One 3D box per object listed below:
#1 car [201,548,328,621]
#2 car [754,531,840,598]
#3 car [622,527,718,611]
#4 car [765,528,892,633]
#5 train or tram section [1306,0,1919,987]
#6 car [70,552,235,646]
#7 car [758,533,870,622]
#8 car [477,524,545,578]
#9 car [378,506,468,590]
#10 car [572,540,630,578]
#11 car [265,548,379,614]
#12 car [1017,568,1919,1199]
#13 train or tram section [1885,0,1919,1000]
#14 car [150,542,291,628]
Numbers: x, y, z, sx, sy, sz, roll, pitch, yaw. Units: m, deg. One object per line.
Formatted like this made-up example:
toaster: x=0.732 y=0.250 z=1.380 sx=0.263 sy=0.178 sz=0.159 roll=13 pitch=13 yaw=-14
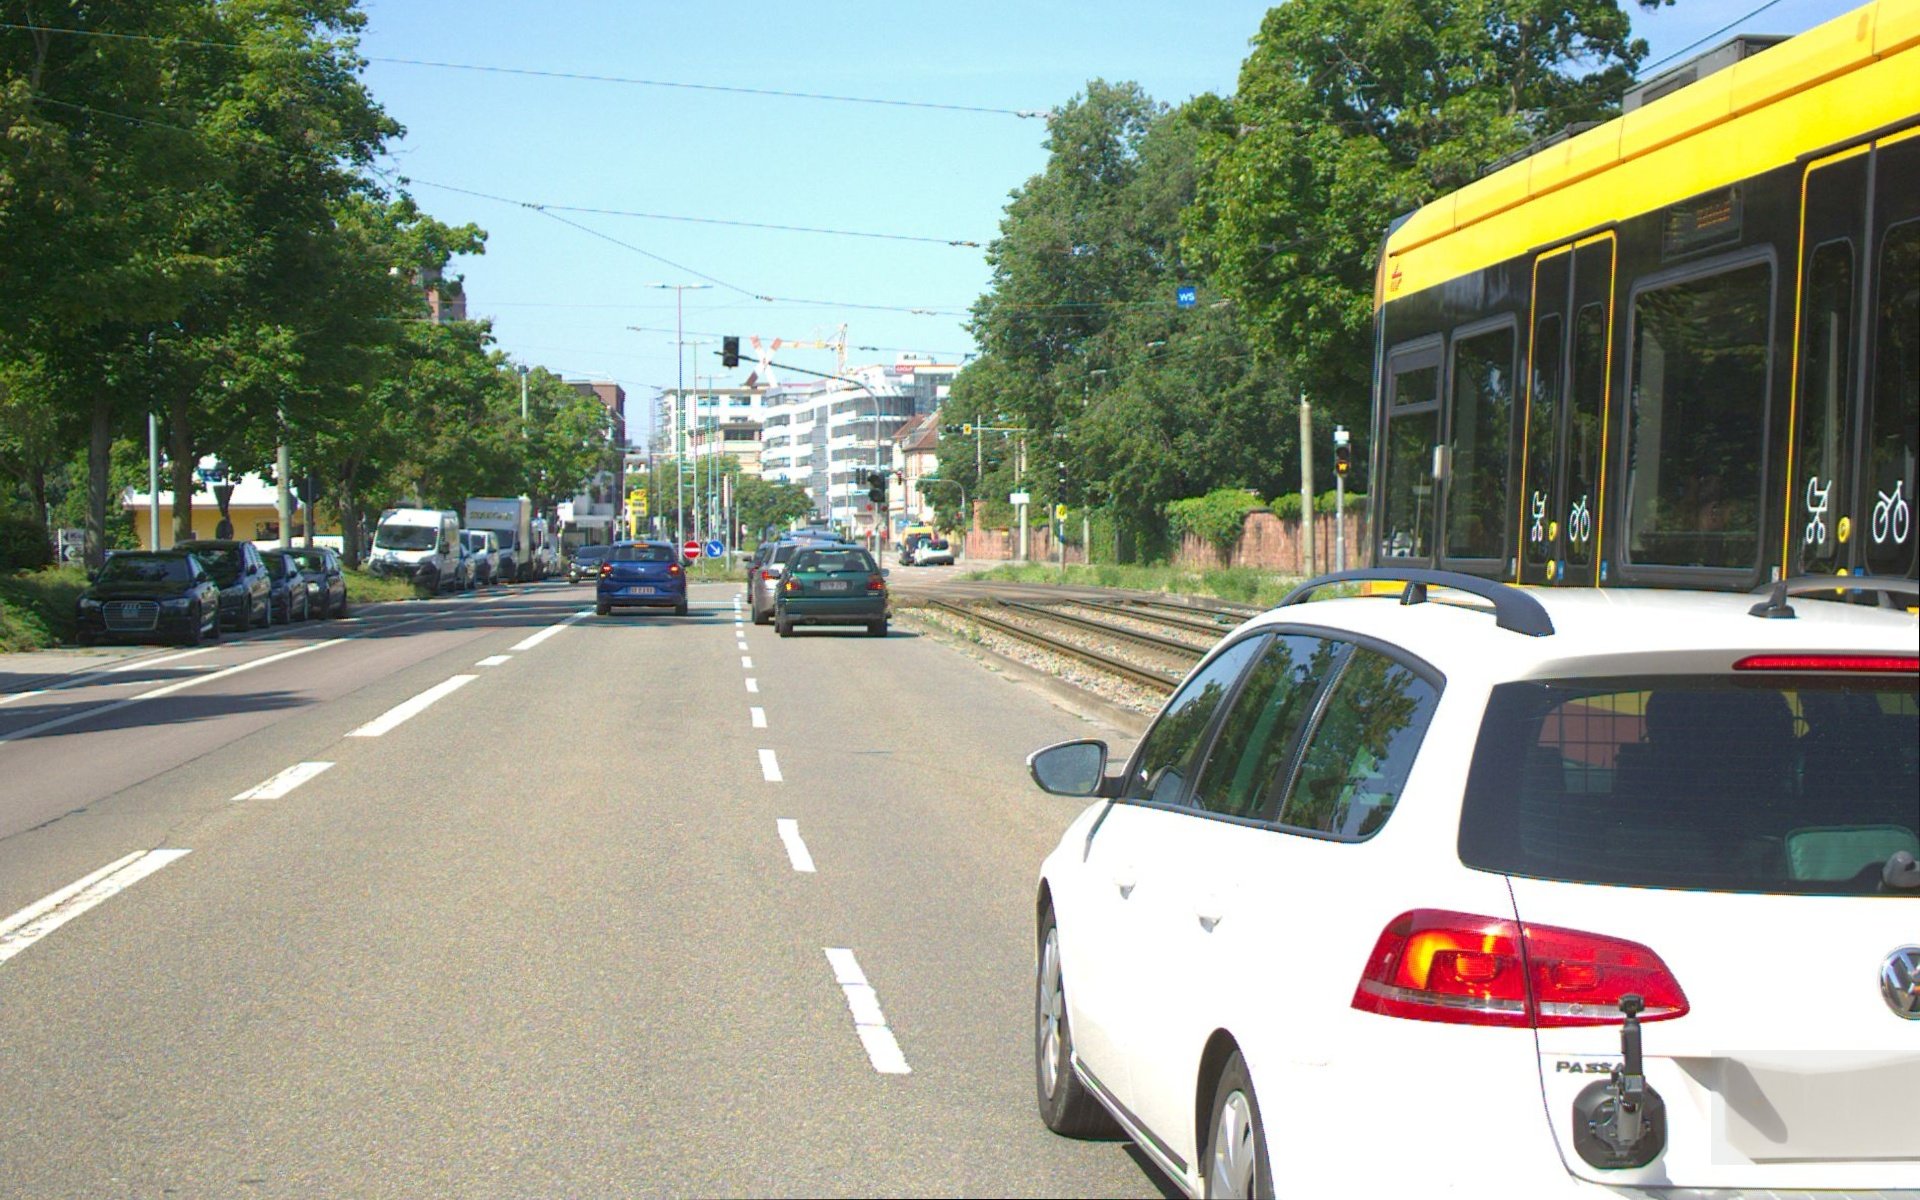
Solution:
car: x=-13.609 y=-0.325 z=67.479 sx=1.699 sy=1.347 sz=4.000 roll=0 pitch=1 yaw=0
car: x=-3.706 y=-0.830 z=77.564 sx=1.800 sy=1.455 sz=4.001 roll=0 pitch=1 yaw=-4
car: x=-5.643 y=-0.621 z=67.059 sx=1.800 sy=1.502 sz=4.001 roll=1 pitch=2 yaw=-4
car: x=-2.072 y=-0.330 z=53.217 sx=1.800 sy=1.502 sz=4.001 roll=1 pitch=1 yaw=-4
train or tram section: x=4.101 y=-0.700 z=18.358 sx=2.511 sy=3.734 sz=13.312 roll=0 pitch=1 yaw=-3
car: x=-12.771 y=-0.046 z=54.607 sx=1.699 sy=1.412 sz=4.000 roll=0 pitch=1 yaw=0
car: x=-2.599 y=-0.418 z=60.416 sx=1.800 sy=1.455 sz=4.001 roll=1 pitch=1 yaw=-4
car: x=-15.895 y=-1.756 z=121.947 sx=1.826 sy=1.860 sz=4.725 roll=0 pitch=1 yaw=0
car: x=-15.844 y=-1.542 z=101.642 sx=1.880 sy=2.407 sz=5.116 roll=0 pitch=1 yaw=0
car: x=-12.415 y=-1.437 z=118.942 sx=1.699 sy=1.268 sz=4.001 roll=0 pitch=1 yaw=-2
car: x=-13.471 y=-0.424 z=72.797 sx=1.699 sy=1.347 sz=4.000 roll=0 pitch=1 yaw=0
car: x=1.222 y=0.686 z=7.269 sx=1.691 sy=1.446 sz=4.459 roll=0 pitch=1 yaw=-6
train or tram section: x=5.017 y=-0.409 z=5.250 sx=2.511 sy=3.734 sz=13.313 roll=0 pitch=1 yaw=-5
car: x=-13.310 y=-0.300 z=62.070 sx=1.699 sy=1.477 sz=4.000 roll=0 pitch=1 yaw=0
